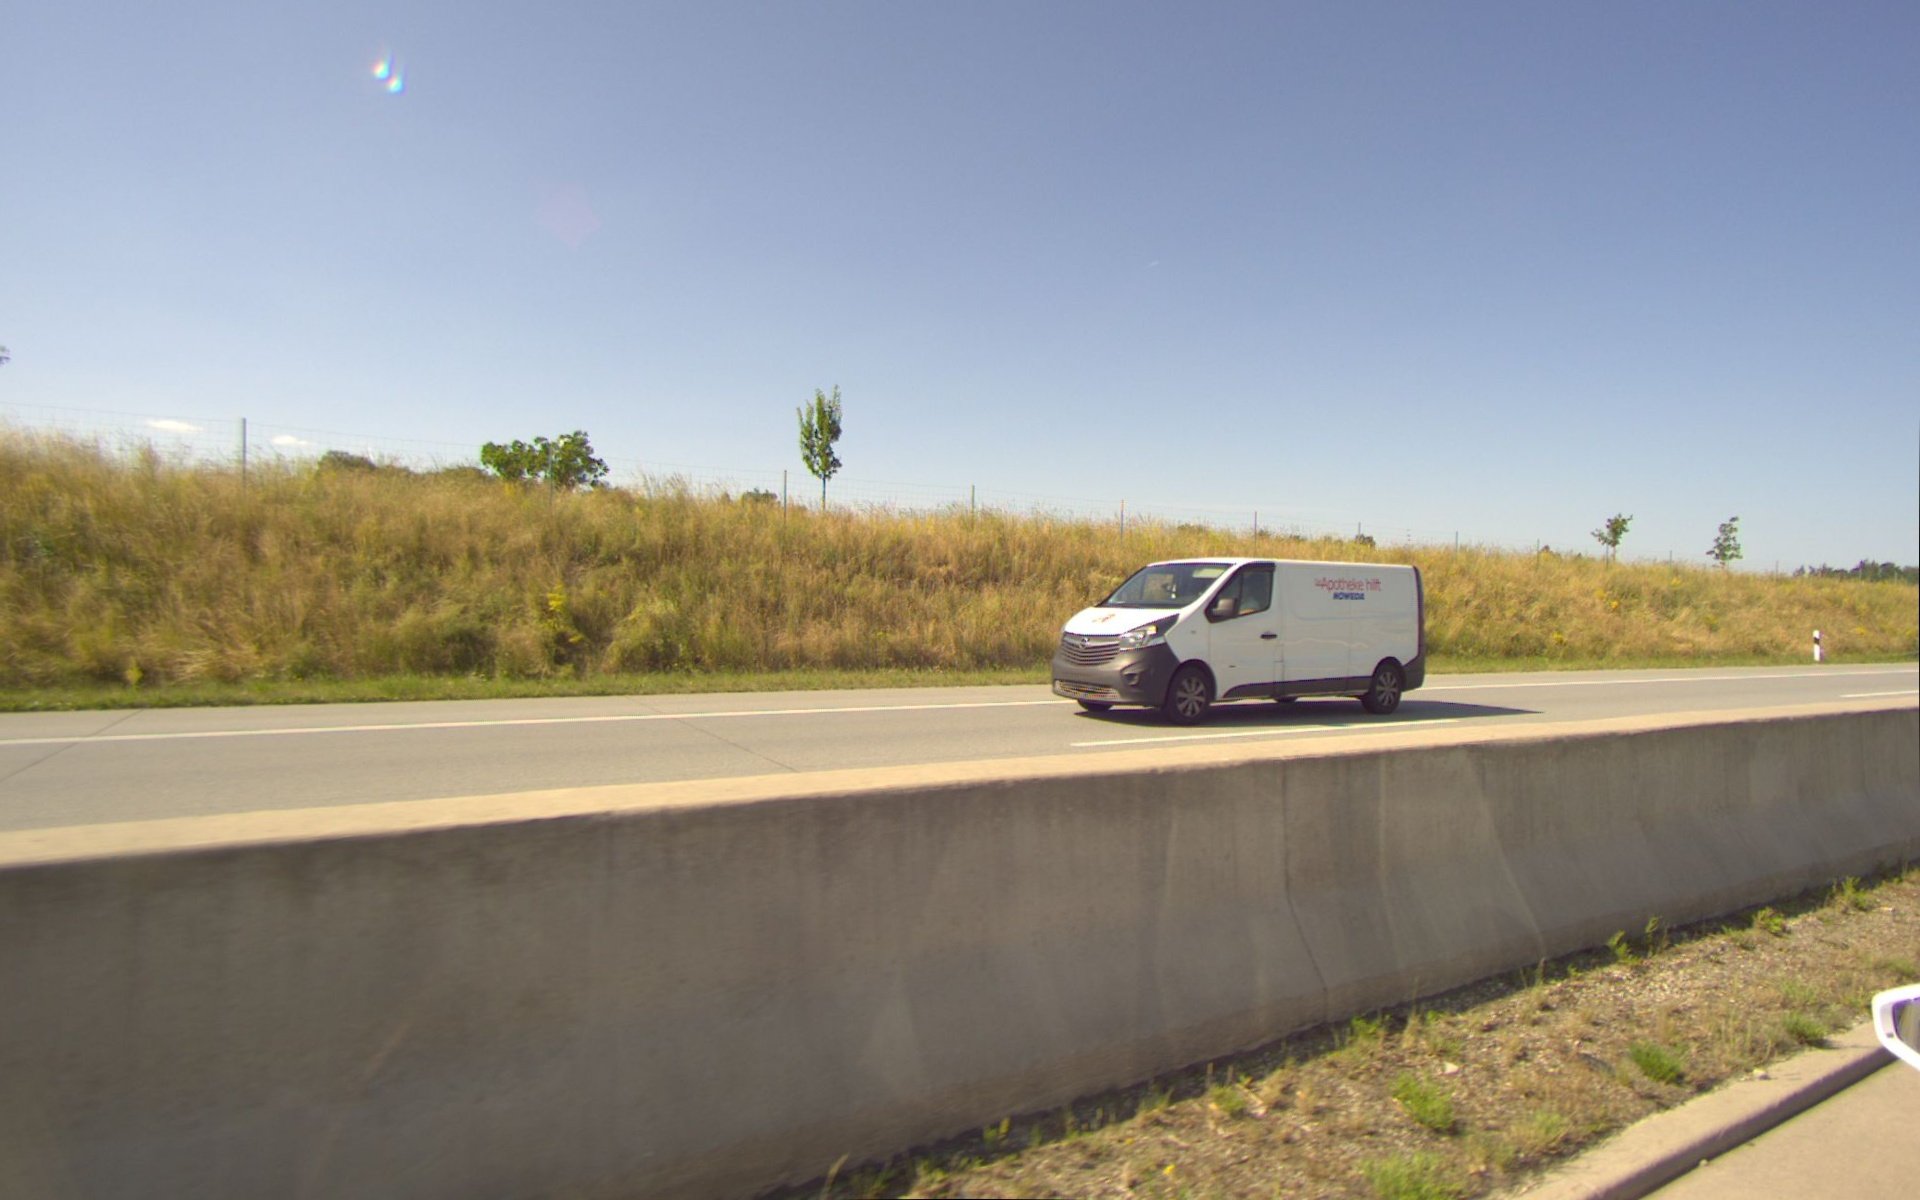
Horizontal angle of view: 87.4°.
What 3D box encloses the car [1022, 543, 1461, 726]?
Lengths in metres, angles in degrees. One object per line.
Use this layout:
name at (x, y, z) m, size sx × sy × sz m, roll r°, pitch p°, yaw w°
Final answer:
car at (3.814, 0.442, 13.215) m, size 5.727 × 1.960 × 2.223 m, roll 2°, pitch -1°, yaw -31°
